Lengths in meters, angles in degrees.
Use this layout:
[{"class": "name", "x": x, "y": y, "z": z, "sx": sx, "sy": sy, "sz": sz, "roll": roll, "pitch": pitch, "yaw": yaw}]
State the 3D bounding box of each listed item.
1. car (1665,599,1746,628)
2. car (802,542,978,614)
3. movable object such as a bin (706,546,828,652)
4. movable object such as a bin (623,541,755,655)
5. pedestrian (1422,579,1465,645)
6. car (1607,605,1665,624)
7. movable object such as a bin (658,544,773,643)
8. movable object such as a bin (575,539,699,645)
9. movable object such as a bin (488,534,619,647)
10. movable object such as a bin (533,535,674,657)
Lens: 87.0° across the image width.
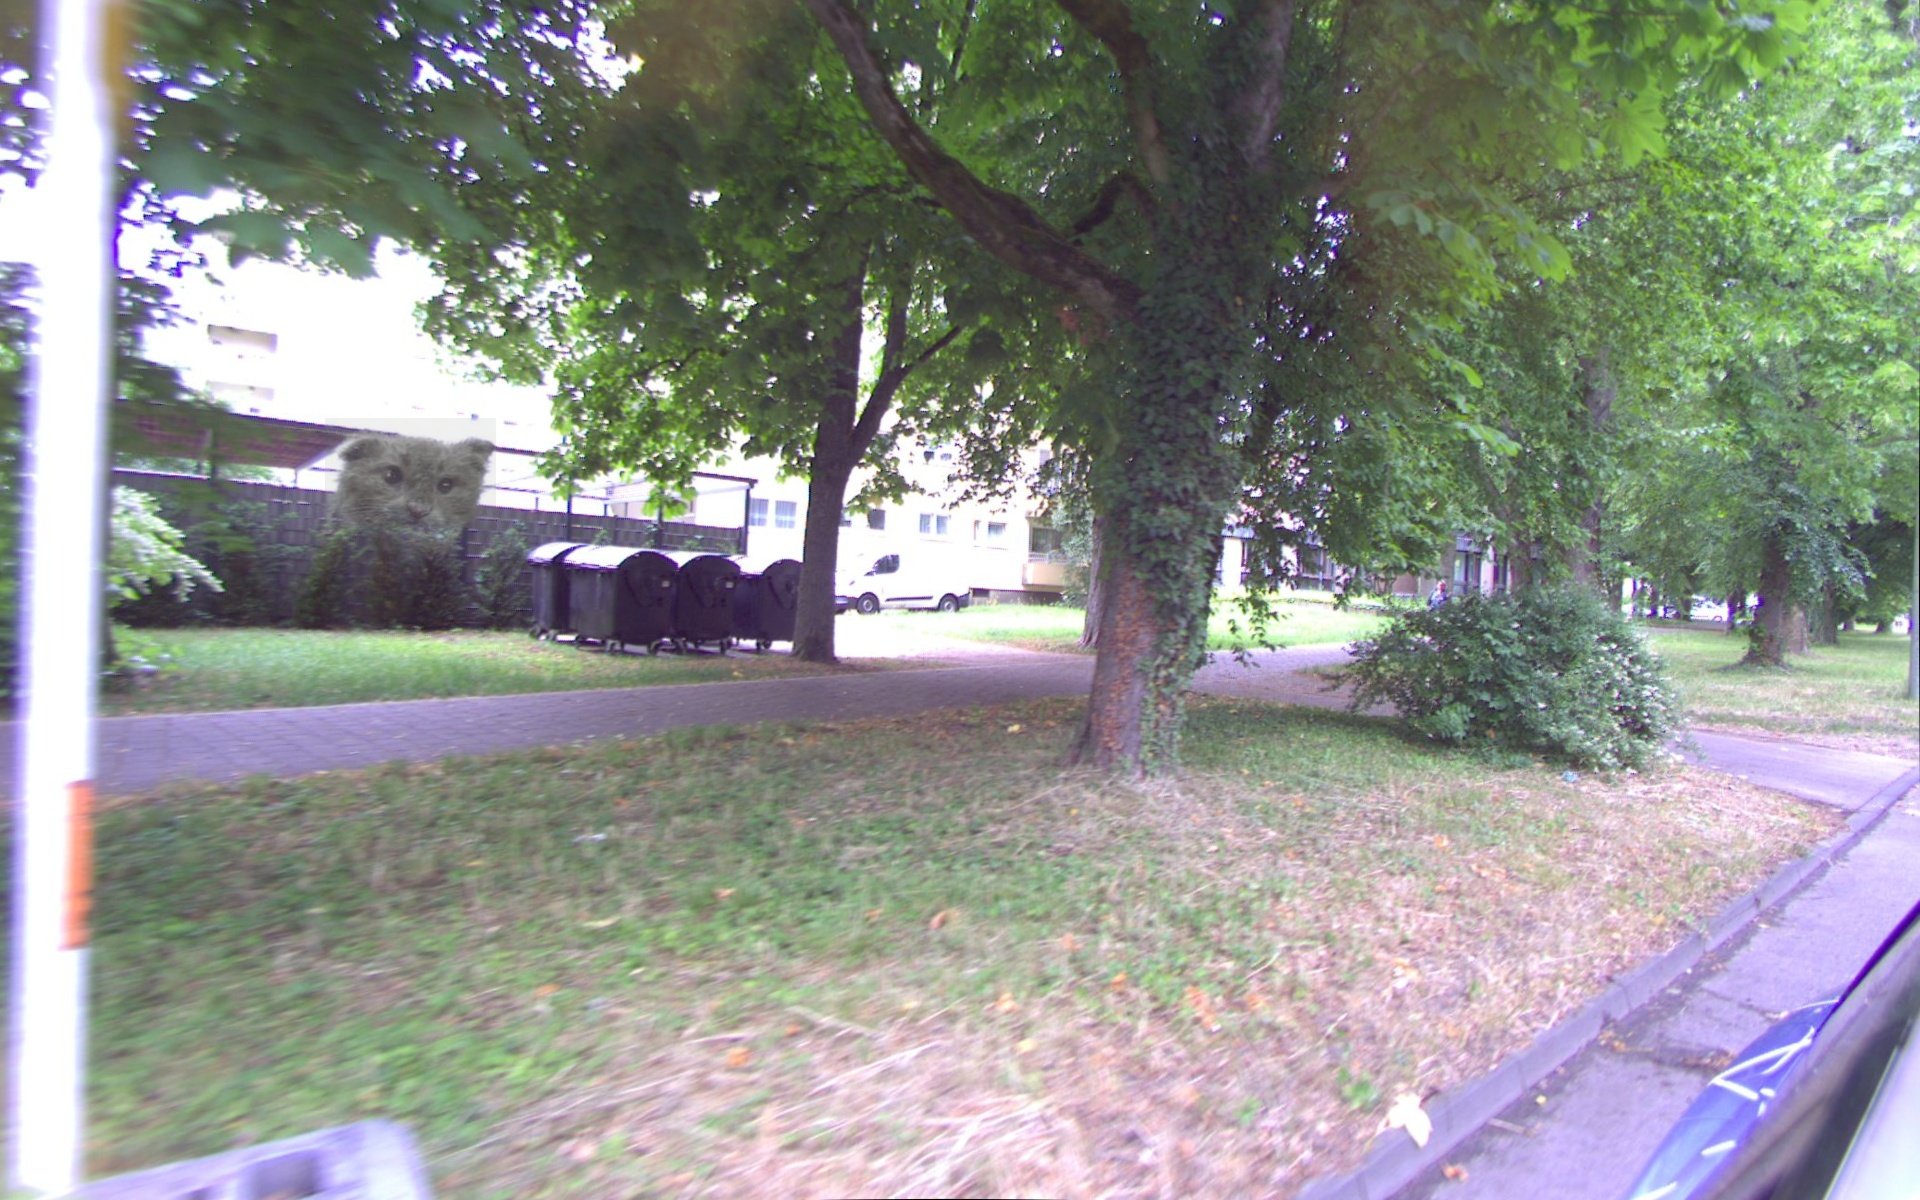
[{"class": "car", "x": 67.178, "y": 1.174, "z": 91.271, "sx": 5.241, "sy": 2.328, "sz": 2.286, "roll": 2, "pitch": 0, "yaw": 10}, {"class": "car", "x": -2.071, "y": -0.643, "z": 30.533, "sx": 4.874, "sy": 1.865, "sz": 2.093, "roll": 3, "pitch": 1, "yaw": -37}, {"class": "movable object such as a bin", "x": -2.987, "y": -0.040, "z": 15.665, "sx": 1.326, "sy": 1.520, "sz": 1.294, "roll": 4, "pitch": 2, "yaw": 43}, {"class": "movable object such as a bin", "x": -3.922, "y": -0.047, "z": 14.636, "sx": 1.326, "sy": 1.520, "sz": 1.294, "roll": 4, "pitch": 2, "yaw": 43}, {"class": "pedestrian", "x": 12.992, "y": 0.317, "z": 27.181, "sx": 0.768, "sy": 1.707, "sz": 0.801, "roll": 4, "pitch": 2, "yaw": 44}, {"class": "car", "x": 61.398, "y": 1.269, "z": 91.908, "sx": 3.928, "sy": 1.529, "sz": 1.798, "roll": 2, "pitch": 0, "yaw": 4}, {"class": "movable object such as a bin", "x": -4.030, "y": -0.127, "z": 16.690, "sx": 1.326, "sy": 1.520, "sz": 1.294, "roll": 4, "pitch": 2, "yaw": 43}, {"class": "movable object such as a bin", "x": -4.988, "y": -0.144, "z": 15.629, "sx": 1.326, "sy": 1.520, "sz": 1.294, "roll": 4, "pitch": 2, "yaw": 43}, {"class": "movable object such as a bin", "x": -5.879, "y": -0.158, "z": 14.639, "sx": 1.326, "sy": 1.520, "sz": 1.294, "roll": 4, "pitch": 2, "yaw": 43}, {"class": "movable object such as a bin", "x": -4.814, "y": -0.073, "z": 13.652, "sx": 1.326, "sy": 1.520, "sz": 1.294, "roll": 4, "pitch": 2, "yaw": 43}]
